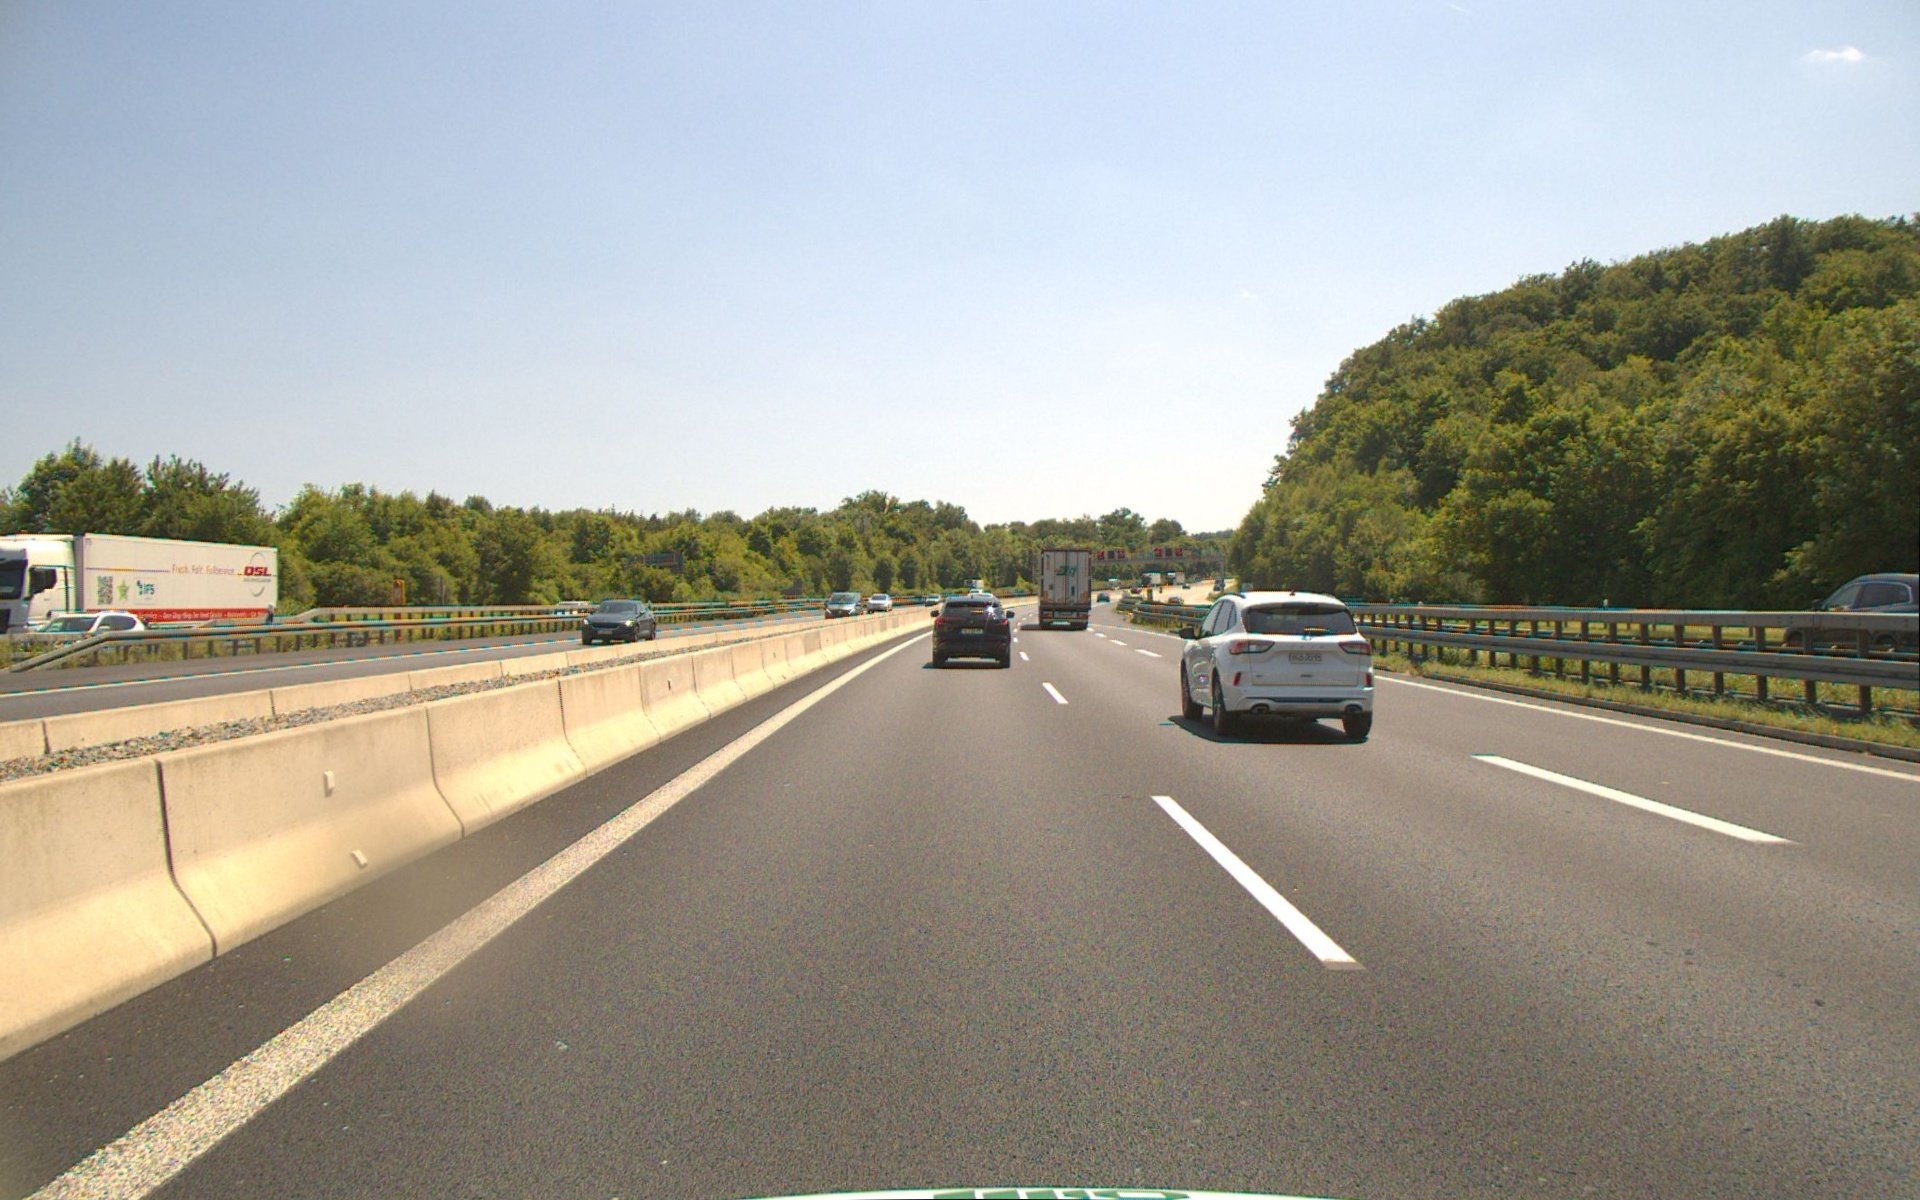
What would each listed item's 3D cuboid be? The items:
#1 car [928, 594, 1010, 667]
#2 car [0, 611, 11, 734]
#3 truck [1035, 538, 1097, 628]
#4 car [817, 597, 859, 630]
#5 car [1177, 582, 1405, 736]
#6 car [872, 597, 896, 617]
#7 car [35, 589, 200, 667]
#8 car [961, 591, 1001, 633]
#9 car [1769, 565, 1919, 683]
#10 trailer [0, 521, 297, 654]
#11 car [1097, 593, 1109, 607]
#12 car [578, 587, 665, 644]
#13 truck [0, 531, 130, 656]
[{"bbox_3d":[0.161,0.701,38.863,1.743,1.605,3.998,0,-1,-2],"label":"car"},{"bbox_3d":[-12.007,0.821,17.301,1.812,1.419,4.000,1,0,0],"label":"car"},{"bbox_3d":[5.559,-0.789,88.394,2.969,4.496,12.021,0,-1,2],"label":"truck"},{"bbox_3d":[-7.167,0.804,97.590,1.993,1.890,5.375,0,-1,1],"label":"car"},{"bbox_3d":[3.931,0.670,20.411,1.952,1.691,4.468,0,-1,0],"label":"car"},{"bbox_3d":[-6.691,0.613,146.545,1.750,1.660,4.931,0,0,2],"label":"car"},{"bbox_3d":[-23.910,0.754,47.181,1.953,2.049,5.320,-1,0,0],"label":"car"},{"bbox_3d":[1.096,0.621,86.558,1.953,2.048,4.000,-3,0,0],"label":"car"},{"bbox_3d":[14.676,0.357,25.044,1.953,1.691,5.624,0,-1,-2],"label":"car"},{"bbox_3d":[-27.767,-0.319,57.856,3.043,4.067,14.088,0,-1,2],"label":"trailer"},{"bbox_3d":[22.027,-0.005,254.822,1.951,2.049,4.002,0,-1,5],"label":"car"},{"bbox_3d":[-11.610,0.531,57.024,1.952,1.856,4.905,0,-1,0],"label":"car"},{"bbox_3d":[-28.036,-0.169,49.989,3.019,3.565,5.410,0,-1,2],"label":"truck"}]
